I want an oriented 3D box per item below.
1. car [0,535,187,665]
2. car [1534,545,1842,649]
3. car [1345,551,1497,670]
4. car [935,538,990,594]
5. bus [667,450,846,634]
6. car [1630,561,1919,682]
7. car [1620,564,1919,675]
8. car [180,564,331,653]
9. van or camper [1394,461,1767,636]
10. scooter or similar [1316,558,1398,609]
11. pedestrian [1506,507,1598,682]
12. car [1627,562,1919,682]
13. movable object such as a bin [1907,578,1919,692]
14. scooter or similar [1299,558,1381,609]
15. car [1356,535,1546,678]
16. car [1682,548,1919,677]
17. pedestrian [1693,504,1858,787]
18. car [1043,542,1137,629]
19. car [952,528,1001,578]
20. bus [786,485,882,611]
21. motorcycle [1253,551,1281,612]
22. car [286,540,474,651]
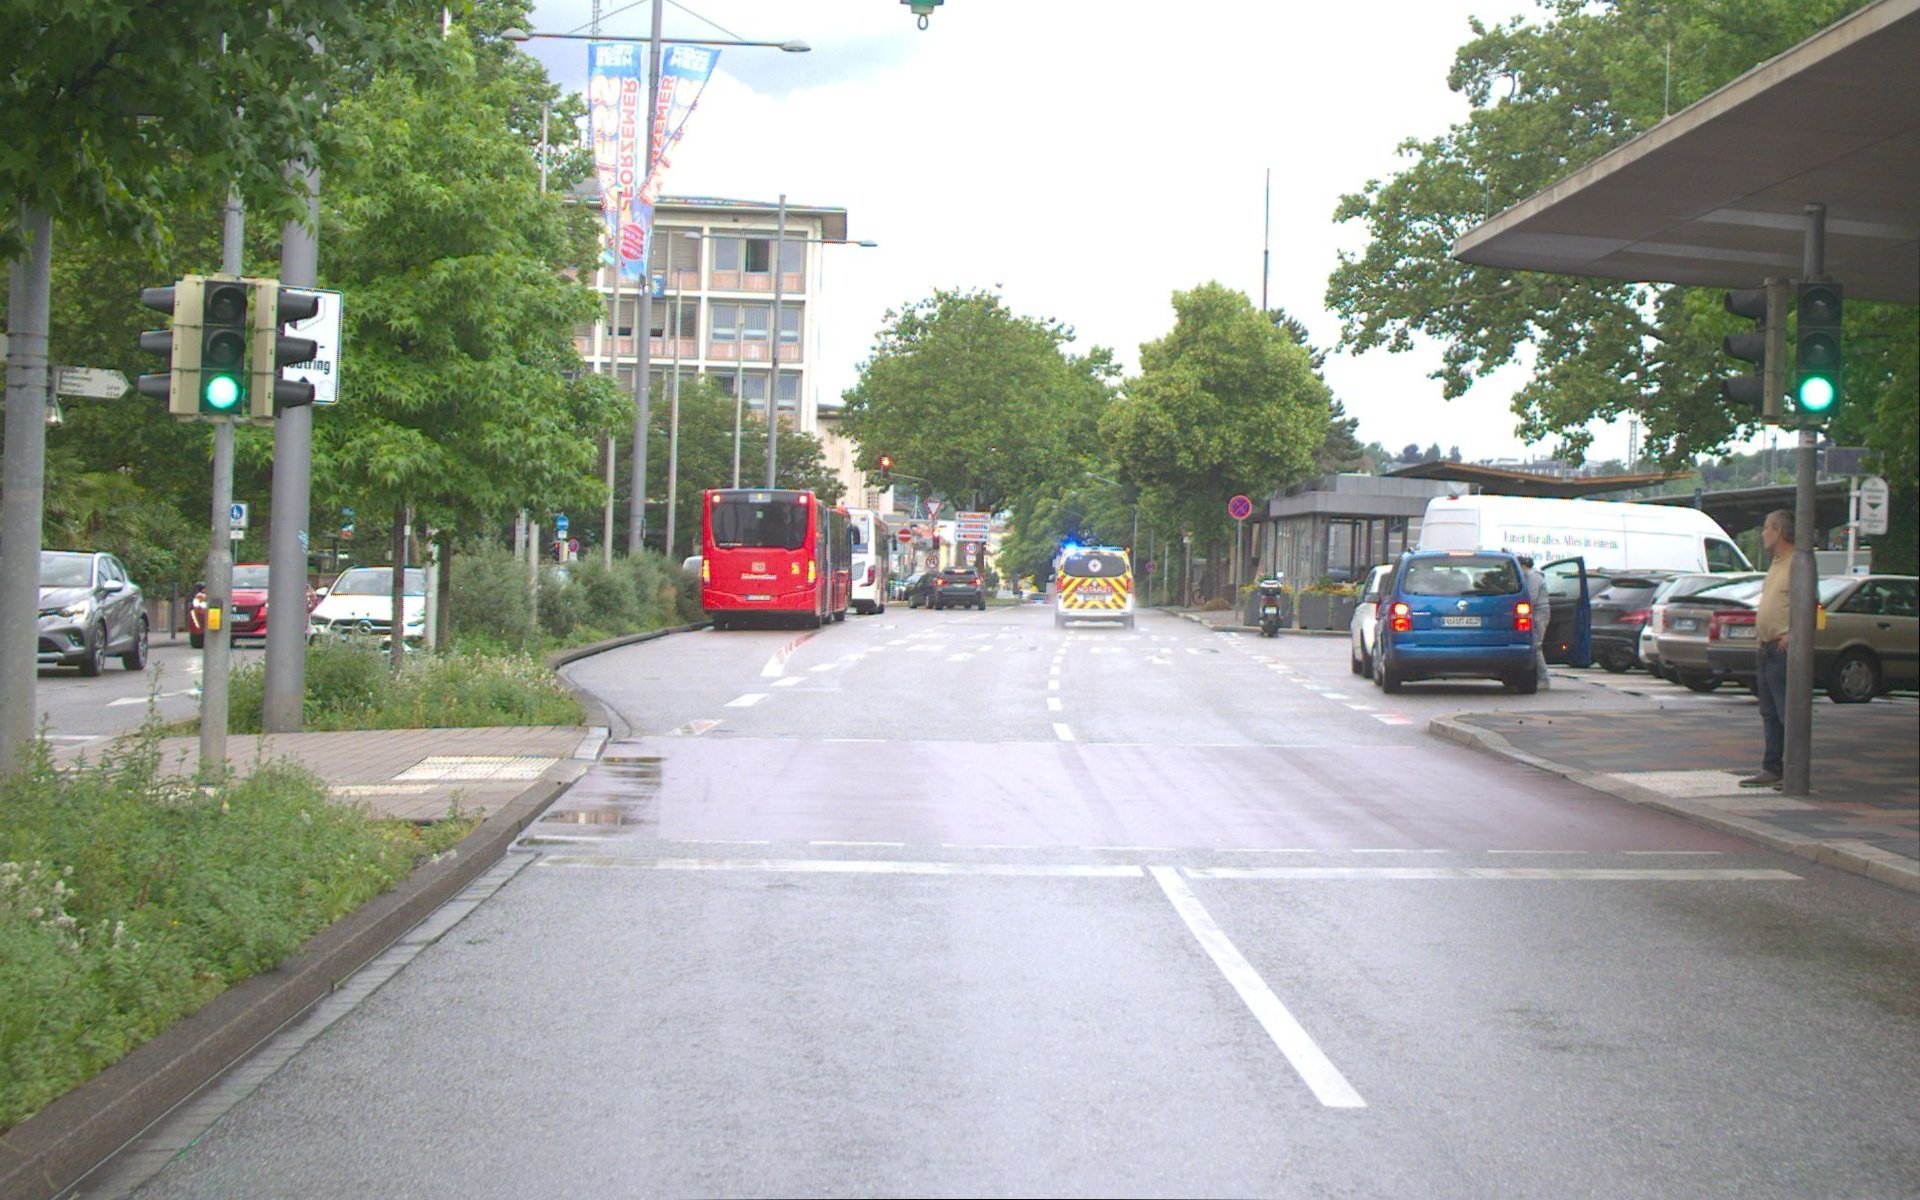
[{"bbox_3d":[-11.290,-0.022,43.441,1.993,1.538,4.633,-1,1,0],"label":"car"},{"bbox_3d":[10.352,-0.048,48.858,3.986,1.438,1.865,0,0,-27],"label":"car"},{"bbox_3d":[6.090,0.121,45.719,1.788,1.517,3.681,0,0,4],"label":"car"},{"bbox_3d":[0.083,-1.283,127.414,1.993,2.007,4.000,-1,1,0],"label":"car"},{"bbox_3d":[-4.626,-1.340,80.594,3.544,3.966,11.172,-1,1,-1],"label":"bus"},{"bbox_3d":[10.004,0.231,40.311,3.987,1.354,1.865,0,0,-31],"label":"car"},{"bbox_3d":[11.047,0.242,46.126,3.986,1.438,1.865,0,0,-27],"label":"car"},{"bbox_3d":[-12.004,0.113,58.806,1.747,1.425,3.953,-1,1,0],"label":"car"},{"bbox_3d":[10.330,-0.879,57.099,5.946,2.753,2.199,-1,1,-27],"label":"van or camper"},{"bbox_3d":[8.825,-0.376,76.343,2.145,1.106,0.443,-1,1,-39],"label":"scooter or similar"},{"bbox_3d":[6.907,-0.070,40.148,0.831,2.007,0.889,-1,1,-5],"label":"pedestrian"},{"bbox_3d":[10.533,0.259,42.980,3.986,1.438,1.865,0,0,-27],"label":"car"},{"bbox_3d":[9.596,0.329,32.905,0.751,1.091,0.749,-1,1,-12],"label":"movable object such as a bin"},{"bbox_3d":[8.479,-0.371,76.710,2.145,1.106,0.427,-1,1,-39],"label":"scooter or similar"},{"bbox_3d":[5.620,0.061,39.763,1.859,1.564,4.000,0,0,3],"label":"car"},{"bbox_3d":[10.010,0.123,36.645,4.184,1.321,1.841,0,0,-20],"label":"car"},{"bbox_3d":[5.130,0.278,21.660,0.746,1.741,0.836,0,0,-8],"label":"pedestrian"},{"bbox_3d":[3.116,-0.372,83.314,1.993,2.007,5.062,-1,1,-1],"label":"car"},{"bbox_3d":[0.667,-1.940,142.895,1.993,2.007,4.000,-1,1,0],"label":"car"},{"bbox_3d":[-3.956,-1.610,108.168,2.805,3.734,10.446,1,1,-2],"label":"bus"},{"bbox_3d":[6.611,-0.414,73.994,0.595,1.284,1.953,0,1,5],"label":"motorcycle"},{"bbox_3d":[-8.541,-0.091,51.005,1.993,1.538,4.633,-1,1,0],"label":"car"}]
